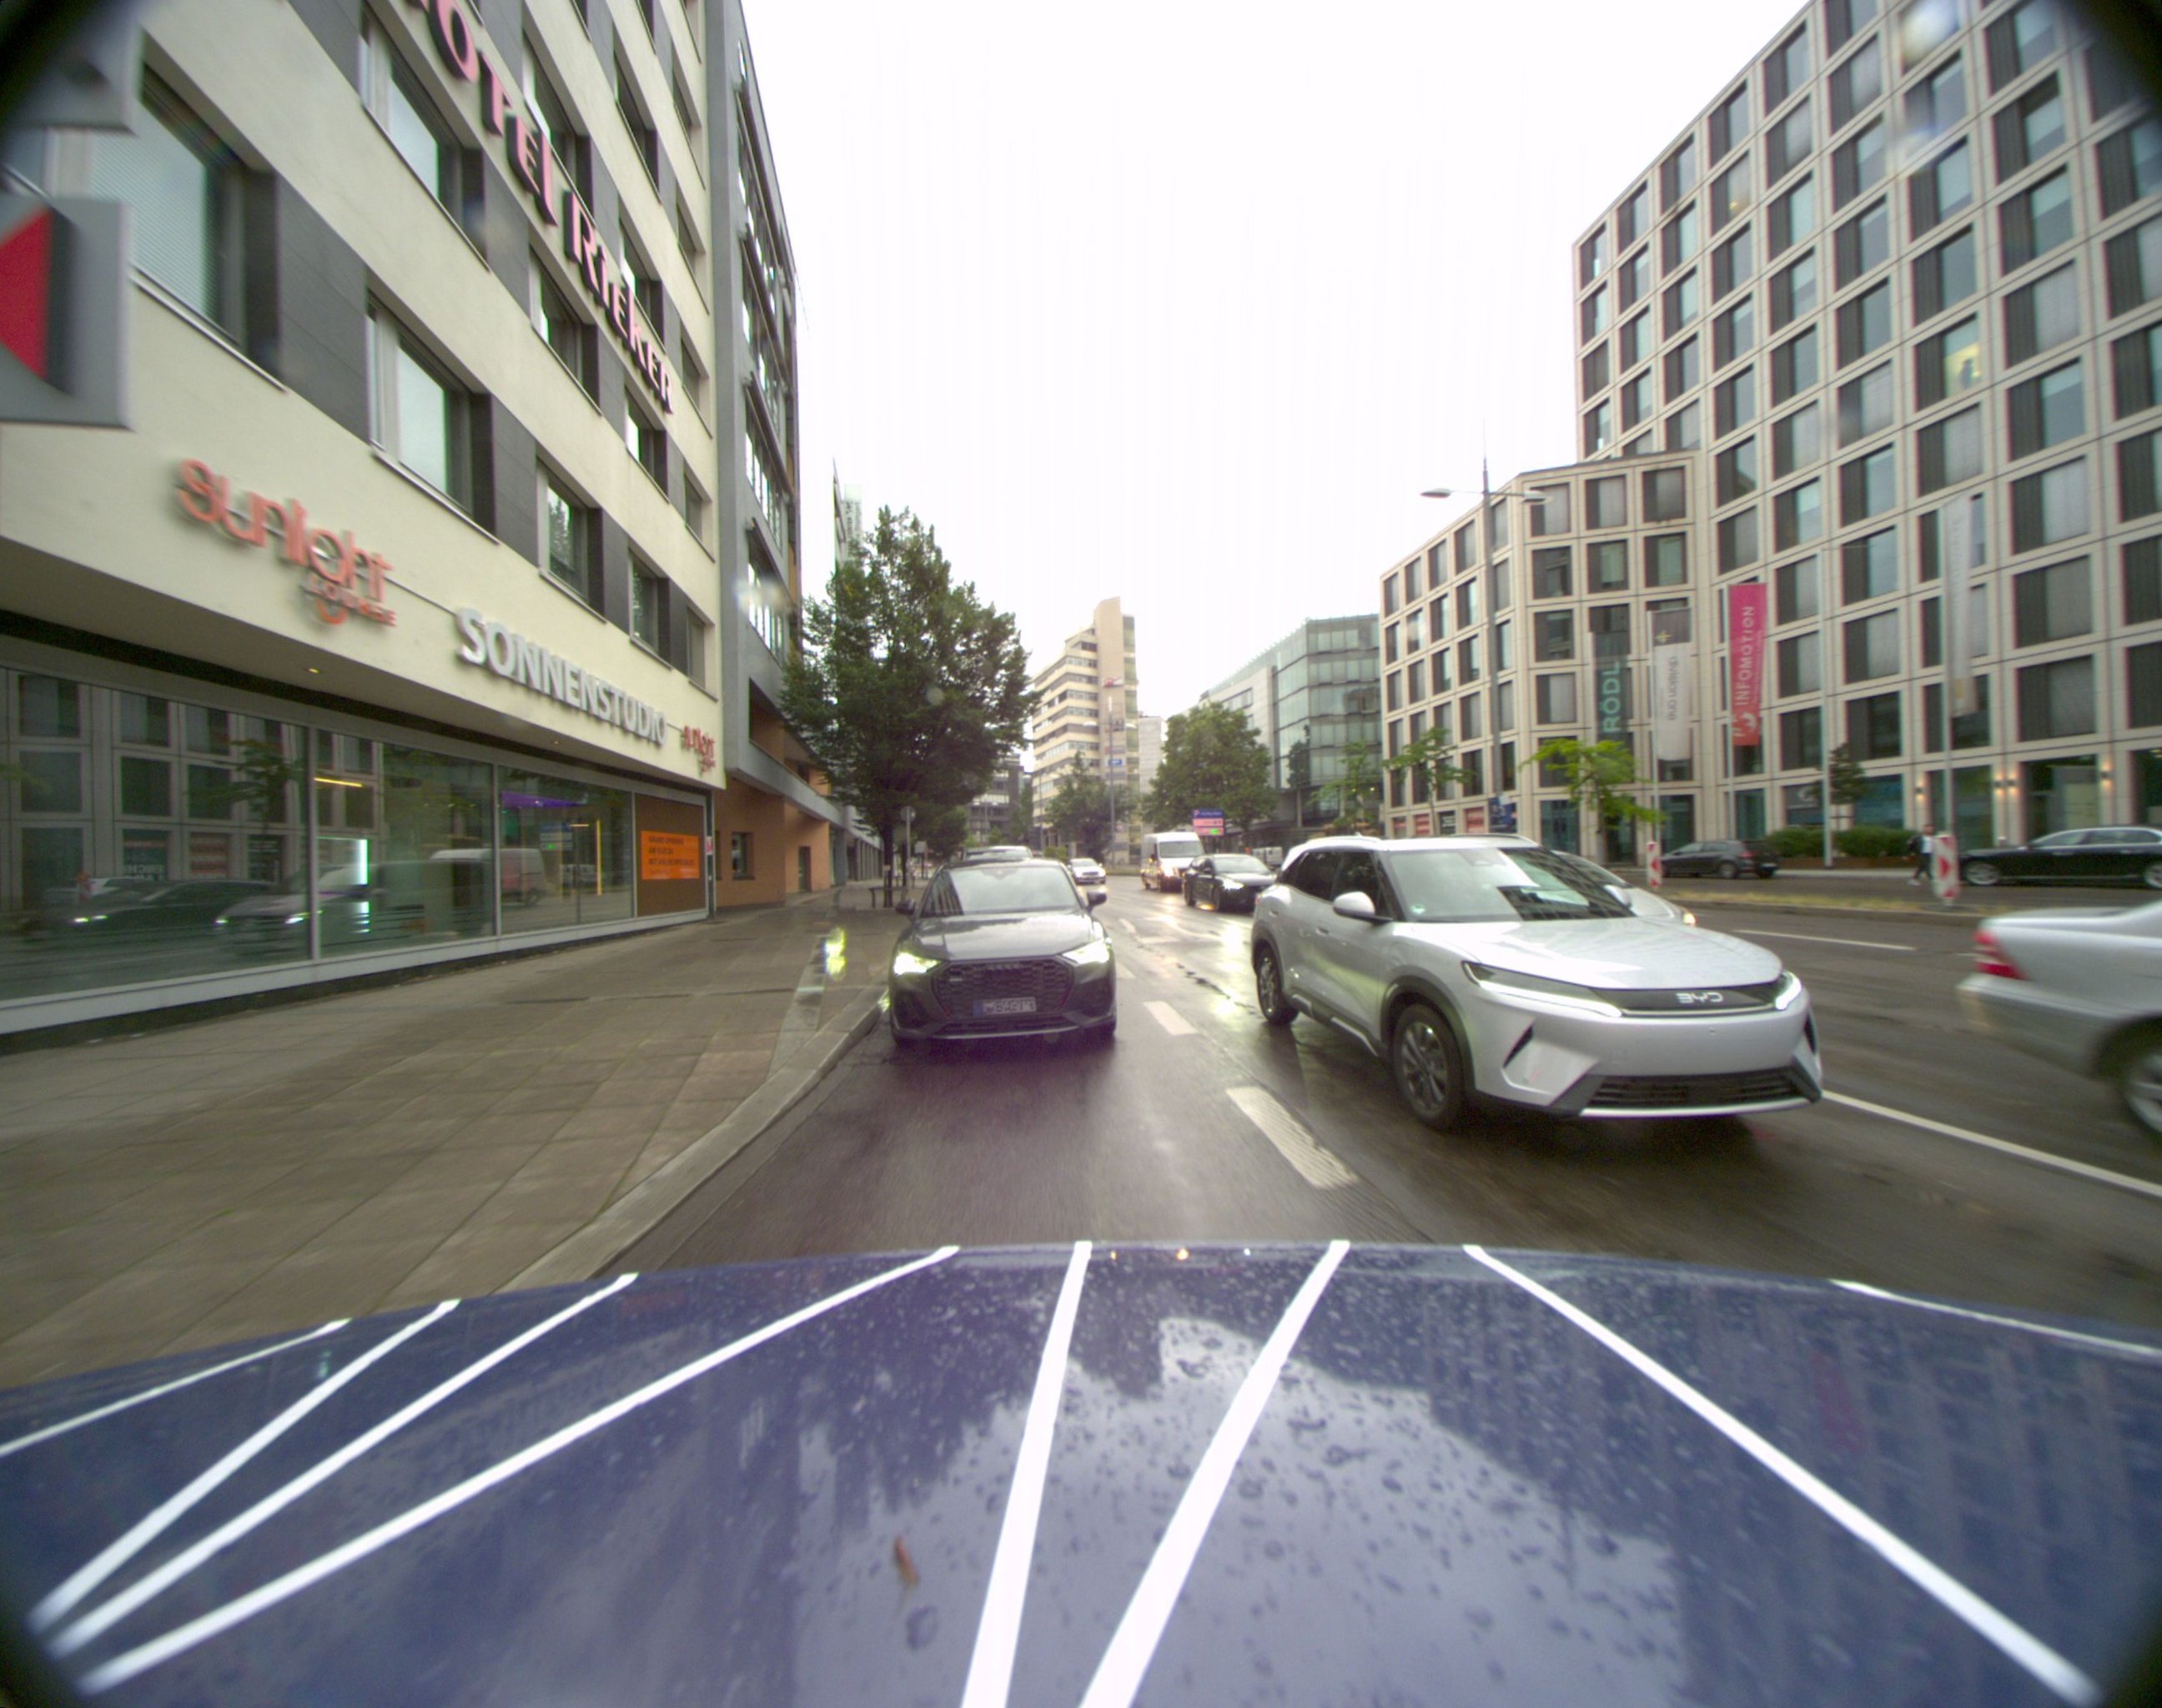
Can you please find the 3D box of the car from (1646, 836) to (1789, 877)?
[{"bbox_3d":[23.730,0.073,28.523,1.703,1.415,3.952,0,0,-10],"label":"car"}]

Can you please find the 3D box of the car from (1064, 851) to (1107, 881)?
[{"bbox_3d":[0.202,0.641,42.810,1.785,1.499,3.997,-3,1,-8],"label":"car"}]

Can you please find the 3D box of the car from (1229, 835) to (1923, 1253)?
[{"bbox_3d":[2.544,0.759,5.284,1.813,1.651,4.168,-3,1,-5],"label":"car"}]

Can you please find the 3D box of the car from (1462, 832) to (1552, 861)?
[{"bbox_3d":[22.171,-0.378,39.768,1.703,1.415,4.369,0,0,-10],"label":"car"}]

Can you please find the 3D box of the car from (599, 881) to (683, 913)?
[{"bbox_3d":[-22.726,2.208,39.354,3.391,1.322,1.564,-3,1,-14],"label":"car"}]

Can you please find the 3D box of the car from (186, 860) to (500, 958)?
[{"bbox_3d":[-15.411,1.022,16.400,1.999,1.600,4.925,-3,1,-2],"label":"car"}]

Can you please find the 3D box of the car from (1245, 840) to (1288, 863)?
[{"bbox_3d":[17.262,-0.261,70.907,2.000,2.002,4.910,-3,1,-11],"label":"car"}]

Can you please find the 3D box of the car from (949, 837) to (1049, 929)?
[{"bbox_3d":[-2.108,0.602,18.854,2.061,1.881,5.044,-3,1,-8],"label":"car"}]

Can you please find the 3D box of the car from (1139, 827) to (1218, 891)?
[{"bbox_3d":[3.994,0.161,32.131,2.260,2.371,5.717,-3,1,-3],"label":"car"}]

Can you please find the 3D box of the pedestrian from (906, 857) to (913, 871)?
[{"bbox_3d":[-21.739,1.268,96.361,0.794,1.772,0.894,-3,0,-14],"label":"pedestrian"}]

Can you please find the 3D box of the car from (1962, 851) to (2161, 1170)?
[{"bbox_3d":[5.865,0.722,2.044,1.738,1.396,4.380,-3,1,-4],"label":"car"}]

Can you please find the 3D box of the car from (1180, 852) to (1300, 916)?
[{"bbox_3d":[4.066,0.693,20.172,1.905,1.393,4.238,-3,1,-6],"label":"car"}]

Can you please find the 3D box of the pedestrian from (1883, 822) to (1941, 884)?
[{"bbox_3d":[23.841,-0.025,21.816,0.613,1.724,0.967,-2,1,5],"label":"pedestrian"}]

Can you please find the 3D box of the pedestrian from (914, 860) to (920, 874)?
[{"bbox_3d":[-20.946,1.674,96.996,0.641,1.772,0.879,-3,0,-11],"label":"pedestrian"}]

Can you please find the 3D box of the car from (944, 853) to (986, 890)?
[{"bbox_3d":[-6.629,0.916,43.011,2.061,1.881,5.043,-3,1,-12],"label":"car"}]

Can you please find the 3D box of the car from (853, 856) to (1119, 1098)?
[{"bbox_3d":[-0.747,0.871,7.549,1.802,1.543,4.386,-3,1,-2],"label":"car"}]

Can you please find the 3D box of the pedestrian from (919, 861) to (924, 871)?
[{"bbox_3d":[-25.676,1.993,122.295,0.654,1.589,1.057,-3,1,-17],"label":"pedestrian"}]

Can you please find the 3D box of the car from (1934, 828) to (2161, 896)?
[{"bbox_3d":[25.382,0.186,19.051,1.703,1.560,5.178,0,0,-10],"label":"car"}]

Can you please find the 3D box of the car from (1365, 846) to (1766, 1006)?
[{"bbox_3d":[5.615,0.684,9.534,1.776,1.470,4.122,-3,1,-14],"label":"car"}]
